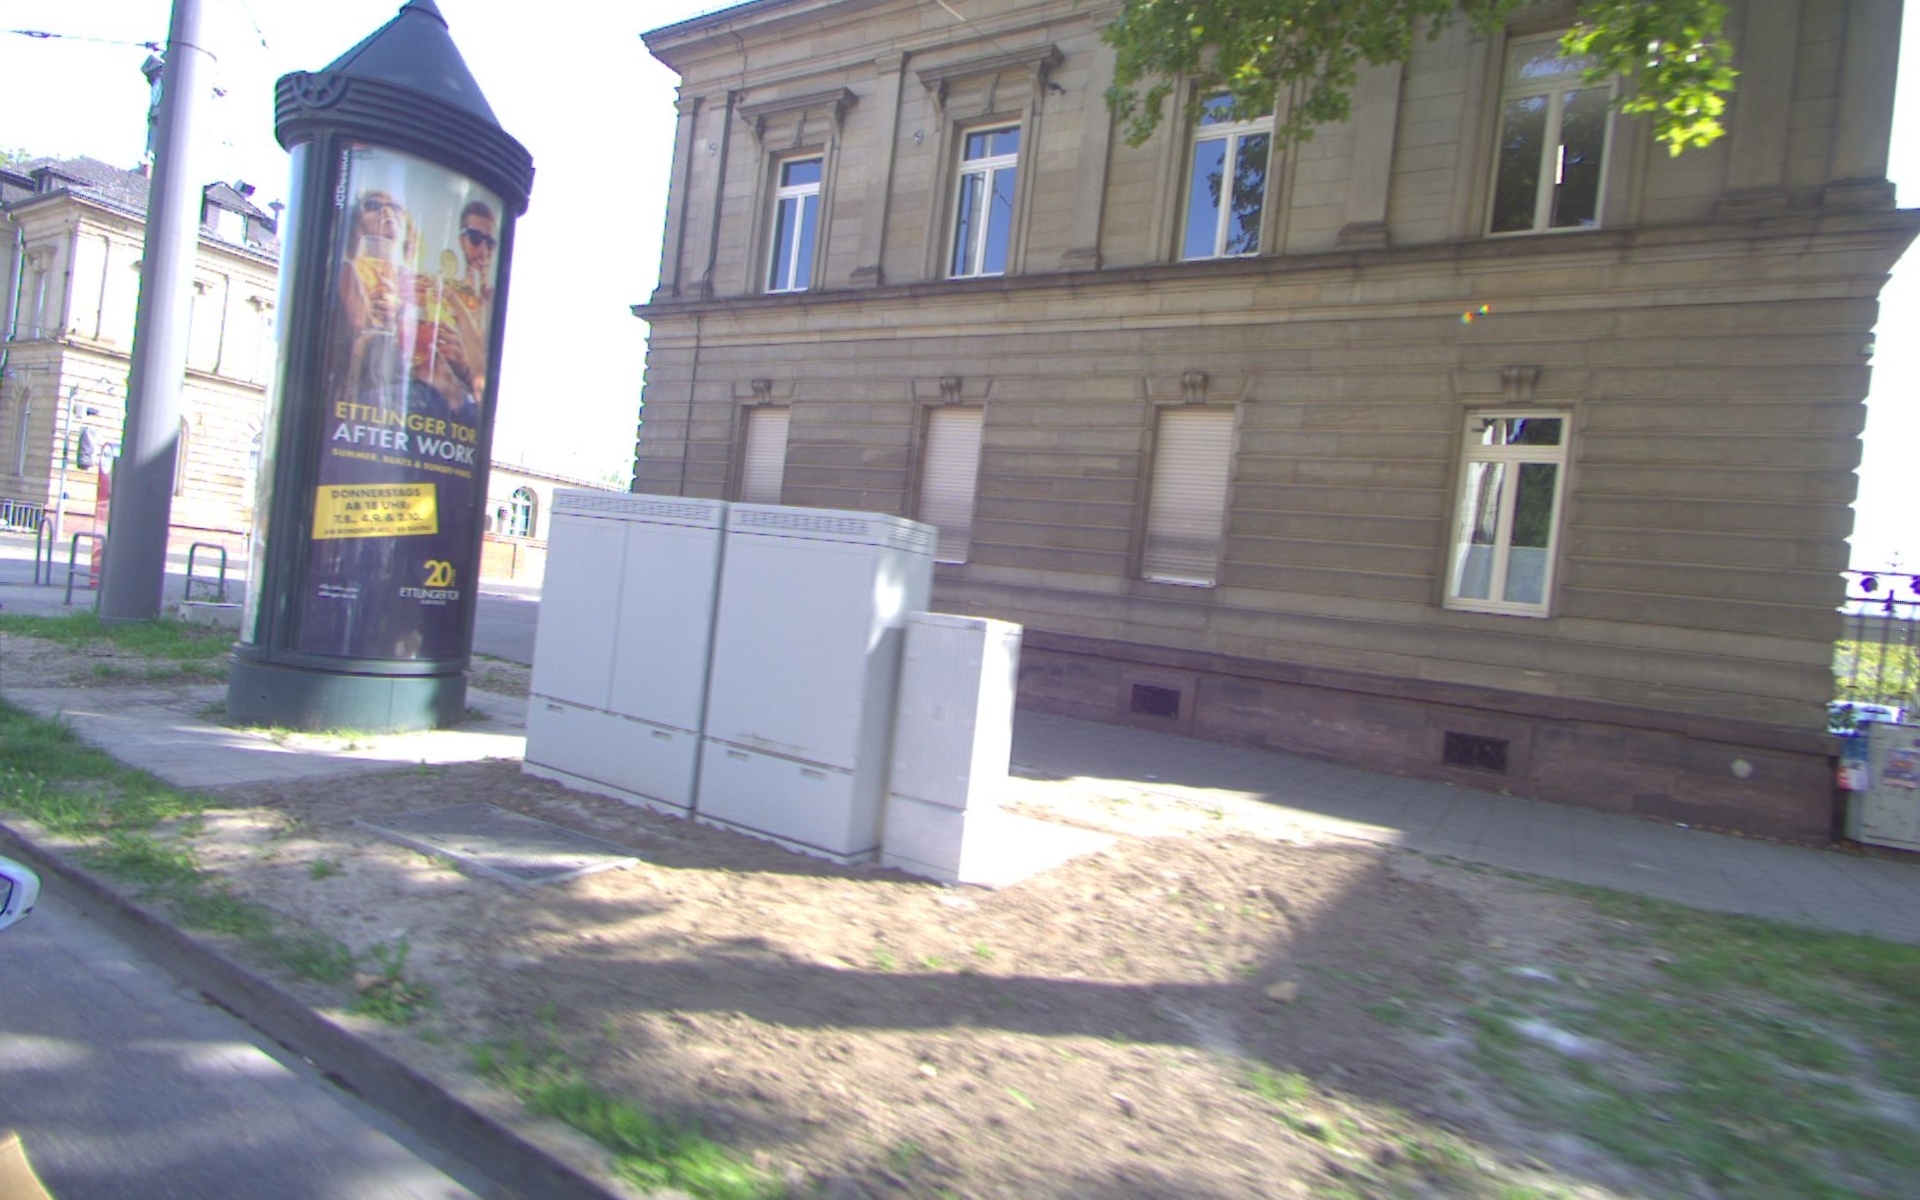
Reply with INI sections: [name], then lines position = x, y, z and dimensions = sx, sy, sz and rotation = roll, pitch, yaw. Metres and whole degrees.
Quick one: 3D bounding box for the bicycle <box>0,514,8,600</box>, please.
[bicycle]
position = -10.768, -0.472, 10.814
dimensions = 1.354, 0.999, 0.410
rotation = 7, 1, 33
